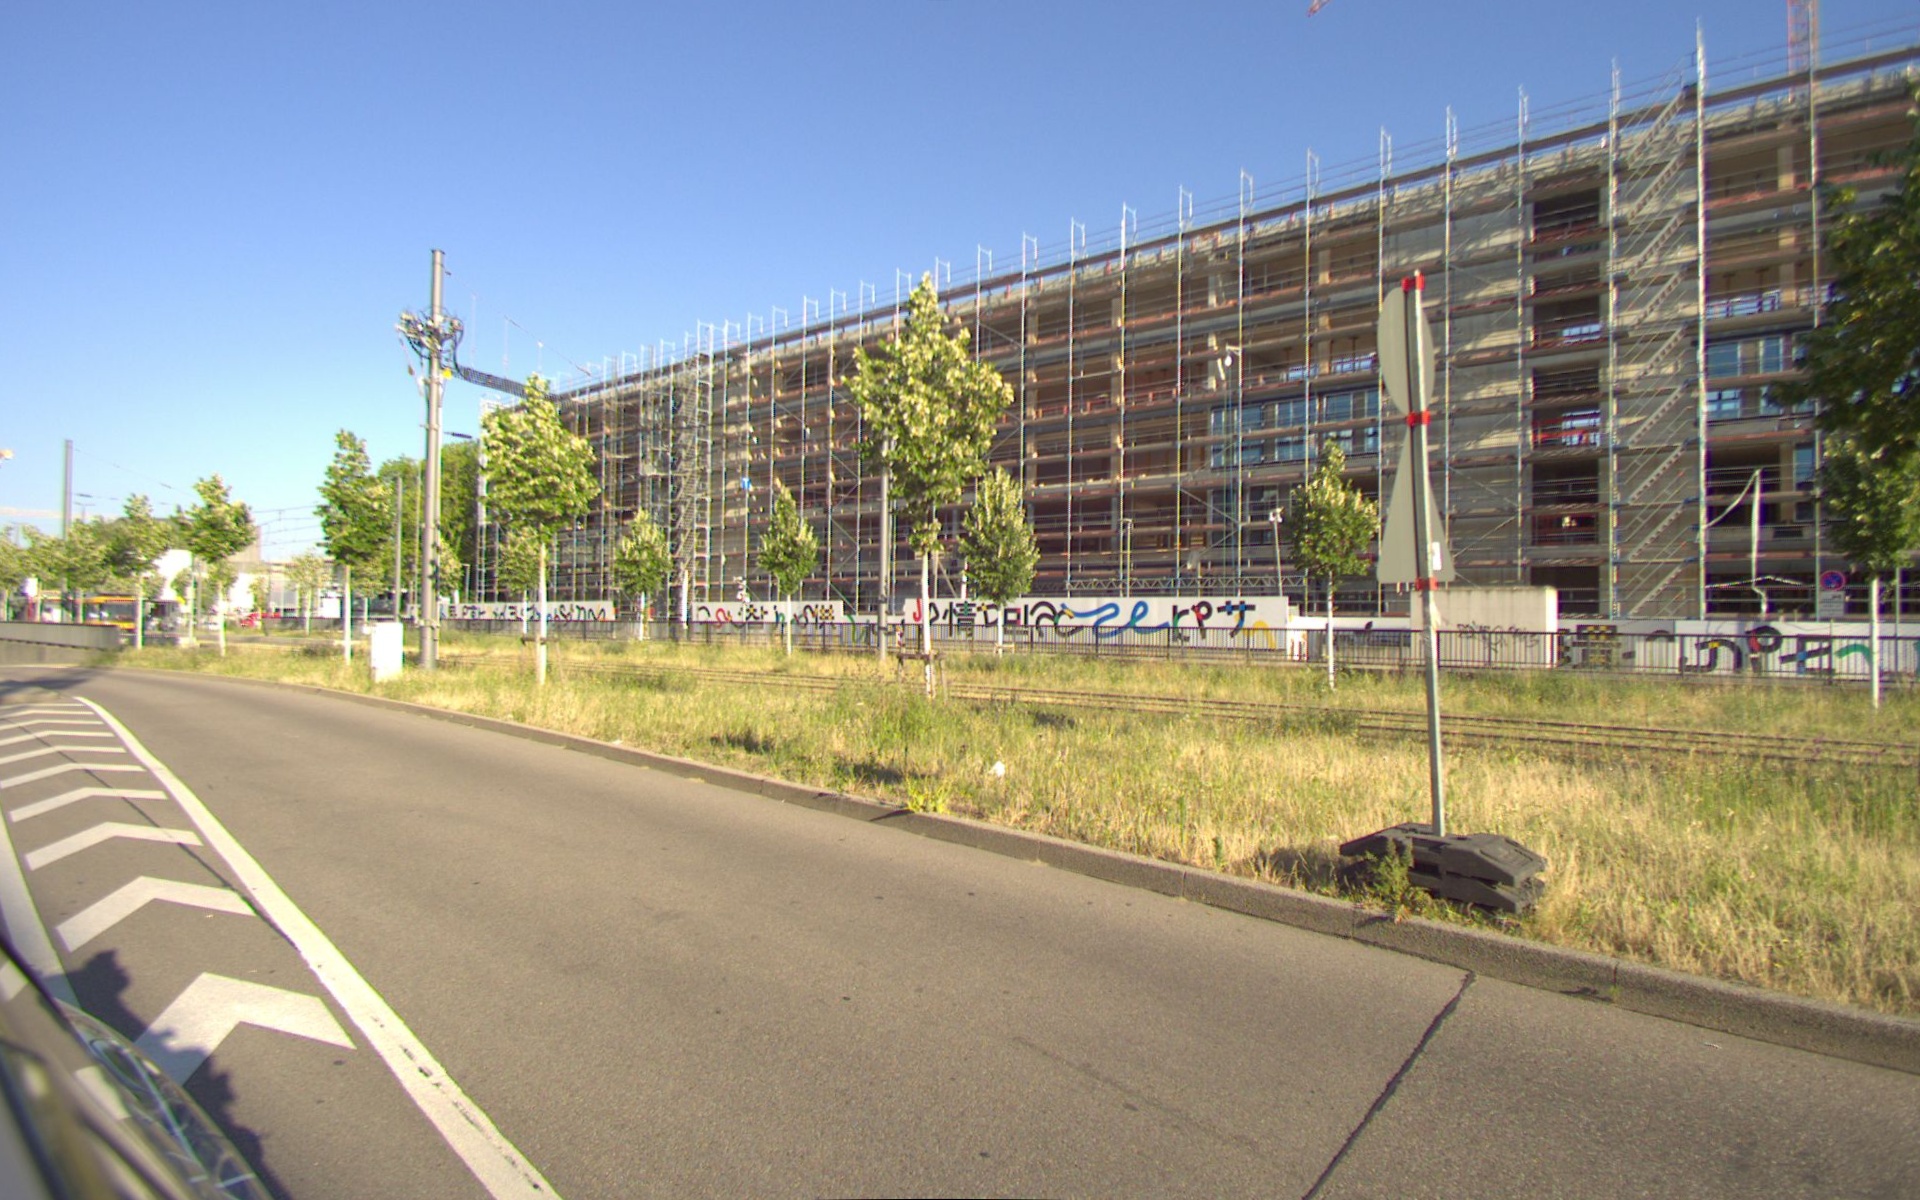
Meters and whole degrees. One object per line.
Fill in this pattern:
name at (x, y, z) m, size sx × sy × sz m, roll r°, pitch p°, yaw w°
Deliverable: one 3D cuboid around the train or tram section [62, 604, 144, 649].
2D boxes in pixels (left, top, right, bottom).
train or tram section at (-69.413, 2.071, 81.799) m, size 12.622 × 3.423 × 2.917 m, roll -1°, pitch 0°, yaw 40°
